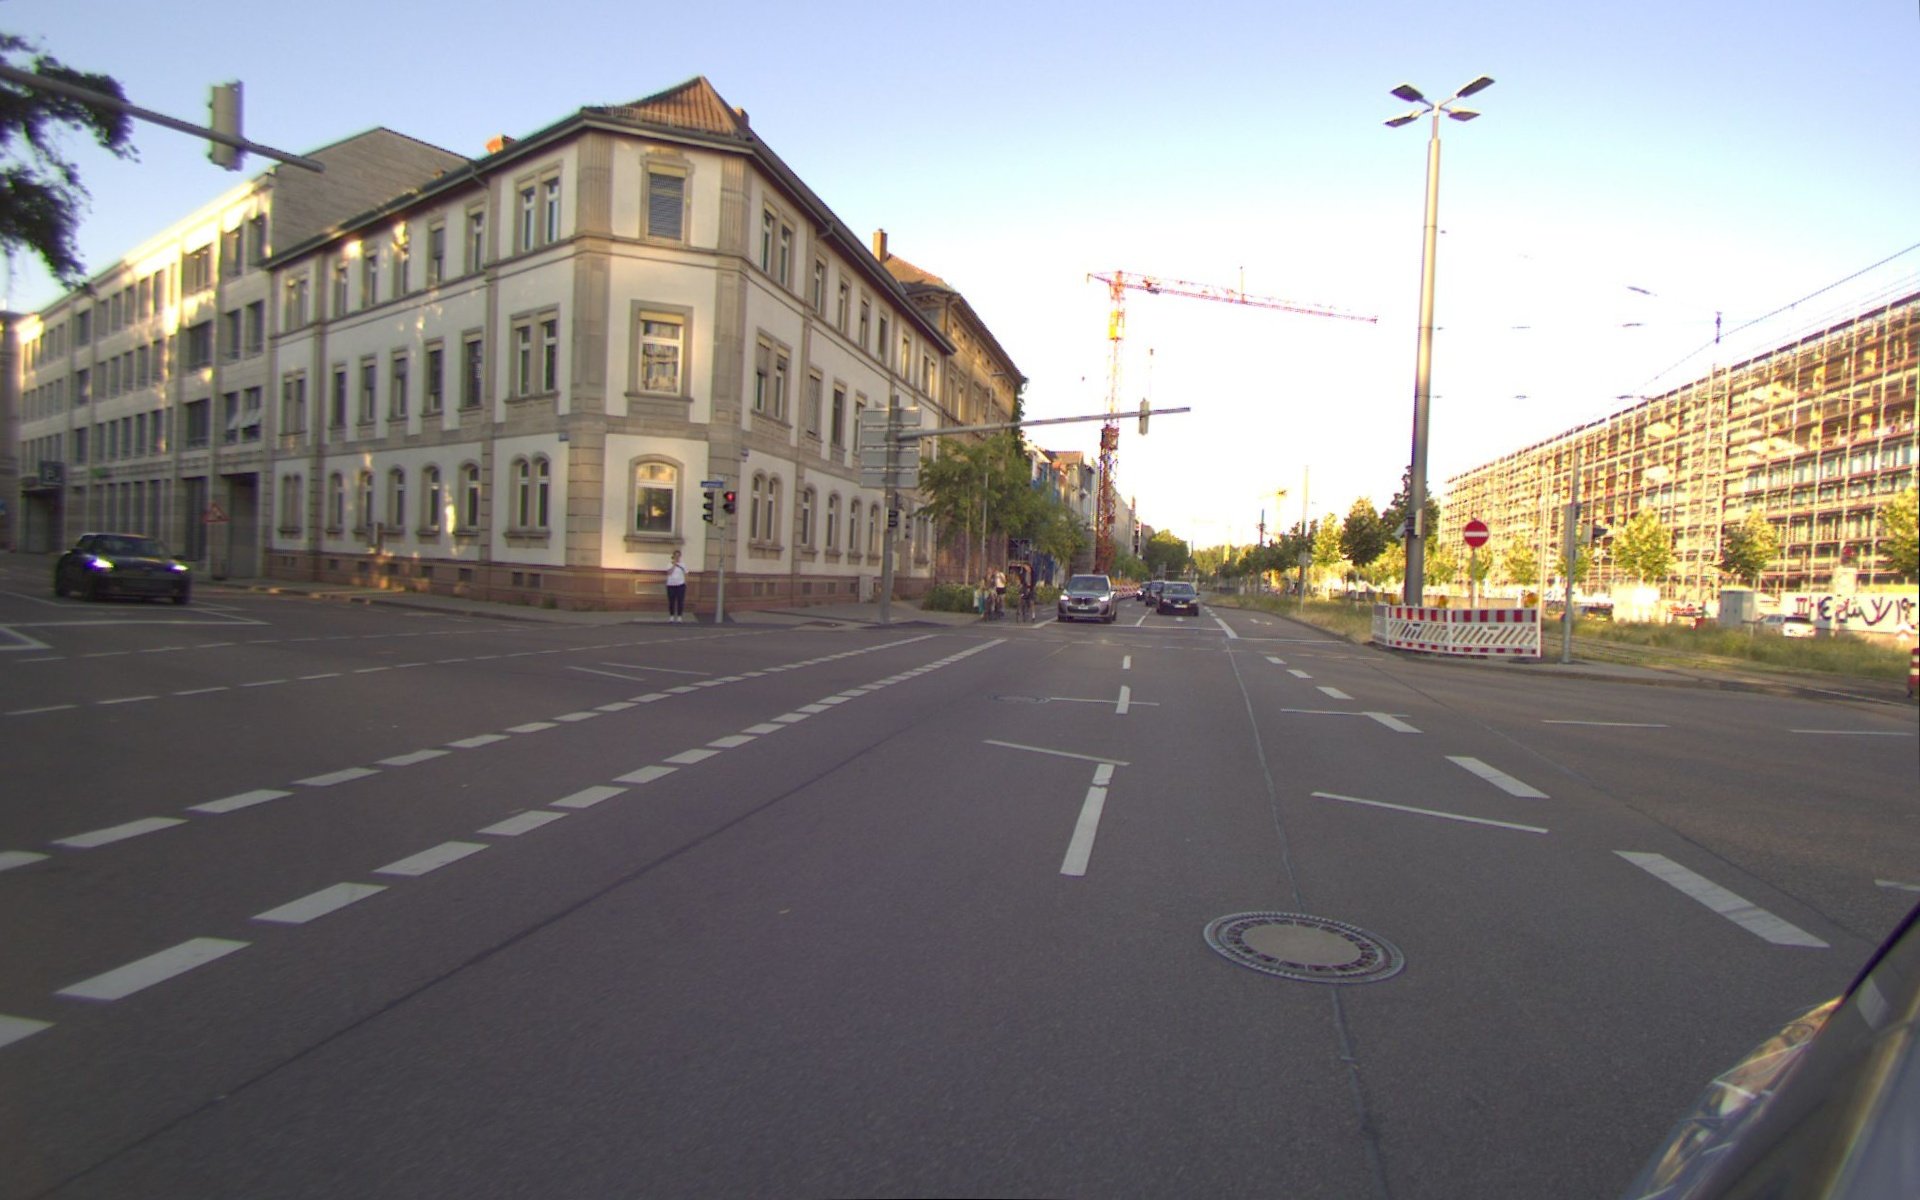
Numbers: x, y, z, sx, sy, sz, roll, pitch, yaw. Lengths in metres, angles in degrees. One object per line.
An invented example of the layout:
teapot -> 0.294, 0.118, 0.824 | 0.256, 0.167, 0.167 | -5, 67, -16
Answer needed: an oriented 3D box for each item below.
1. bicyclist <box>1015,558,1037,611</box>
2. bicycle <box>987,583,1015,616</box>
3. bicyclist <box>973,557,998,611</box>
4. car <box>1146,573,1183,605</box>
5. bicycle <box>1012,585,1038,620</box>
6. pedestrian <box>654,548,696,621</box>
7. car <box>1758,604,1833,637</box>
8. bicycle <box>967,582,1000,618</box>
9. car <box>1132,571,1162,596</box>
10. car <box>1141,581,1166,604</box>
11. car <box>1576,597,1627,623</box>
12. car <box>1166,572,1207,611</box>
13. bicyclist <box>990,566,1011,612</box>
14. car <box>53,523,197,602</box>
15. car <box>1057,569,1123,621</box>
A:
bicyclist -> 2.149, -0.515, 32.976 | 0.694, 1.722, 0.767 | 0, 2, 7
bicycle -> 1.432, -0.034, 35.225 | 0.510, 1.064, 2.035 | 4, 2, 15
bicyclist -> 0.840, -0.529, 33.281 | 0.503, 1.721, 0.764 | 5, 3, 16
car -> 11.315, -0.619, 55.868 | 1.835, 1.617, 4.243 | 2, 1, 13
bicycle -> 2.108, 0.058, 32.741 | 0.709, 1.064, 2.040 | 0, 2, 7
pedestrian -> -6.779, -0.370, 24.109 | 0.802, 1.677, 0.638 | 2, 1, -7
car -> 45.005, 1.077, 54.603 | 1.647, 1.472, 4.045 | 5, 2, 18
bicycle -> 0.779, -0.008, 33.222 | 0.522, 1.064, 2.038 | 5, 4, 15
car -> 13.468, -1.170, 72.744 | 1.853, 1.682, 3.747 | 2, 1, 13
car -> 14.497, -0.597, 75.702 | 1.678, 1.617, 3.874 | 2, 1, 13
car -> 43.566, 0.662, 68.790 | 1.763, 1.536, 4.047 | 5, 2, 16
car -> 10.242, -0.418, 45.793 | 1.678, 1.617, 4.243 | 2, 1, 13
bicyclist -> 1.394, -0.380, 34.986 | 0.505, 1.567, 0.689 | 4, 1, 15
car -> -18.009, -0.818, 21.786 | 3.562, 1.535, 1.803 | 4, 2, 41
car -> 4.542, -0.194, 34.849 | 1.807, 1.617, 4.243 | 2, 1, 13
